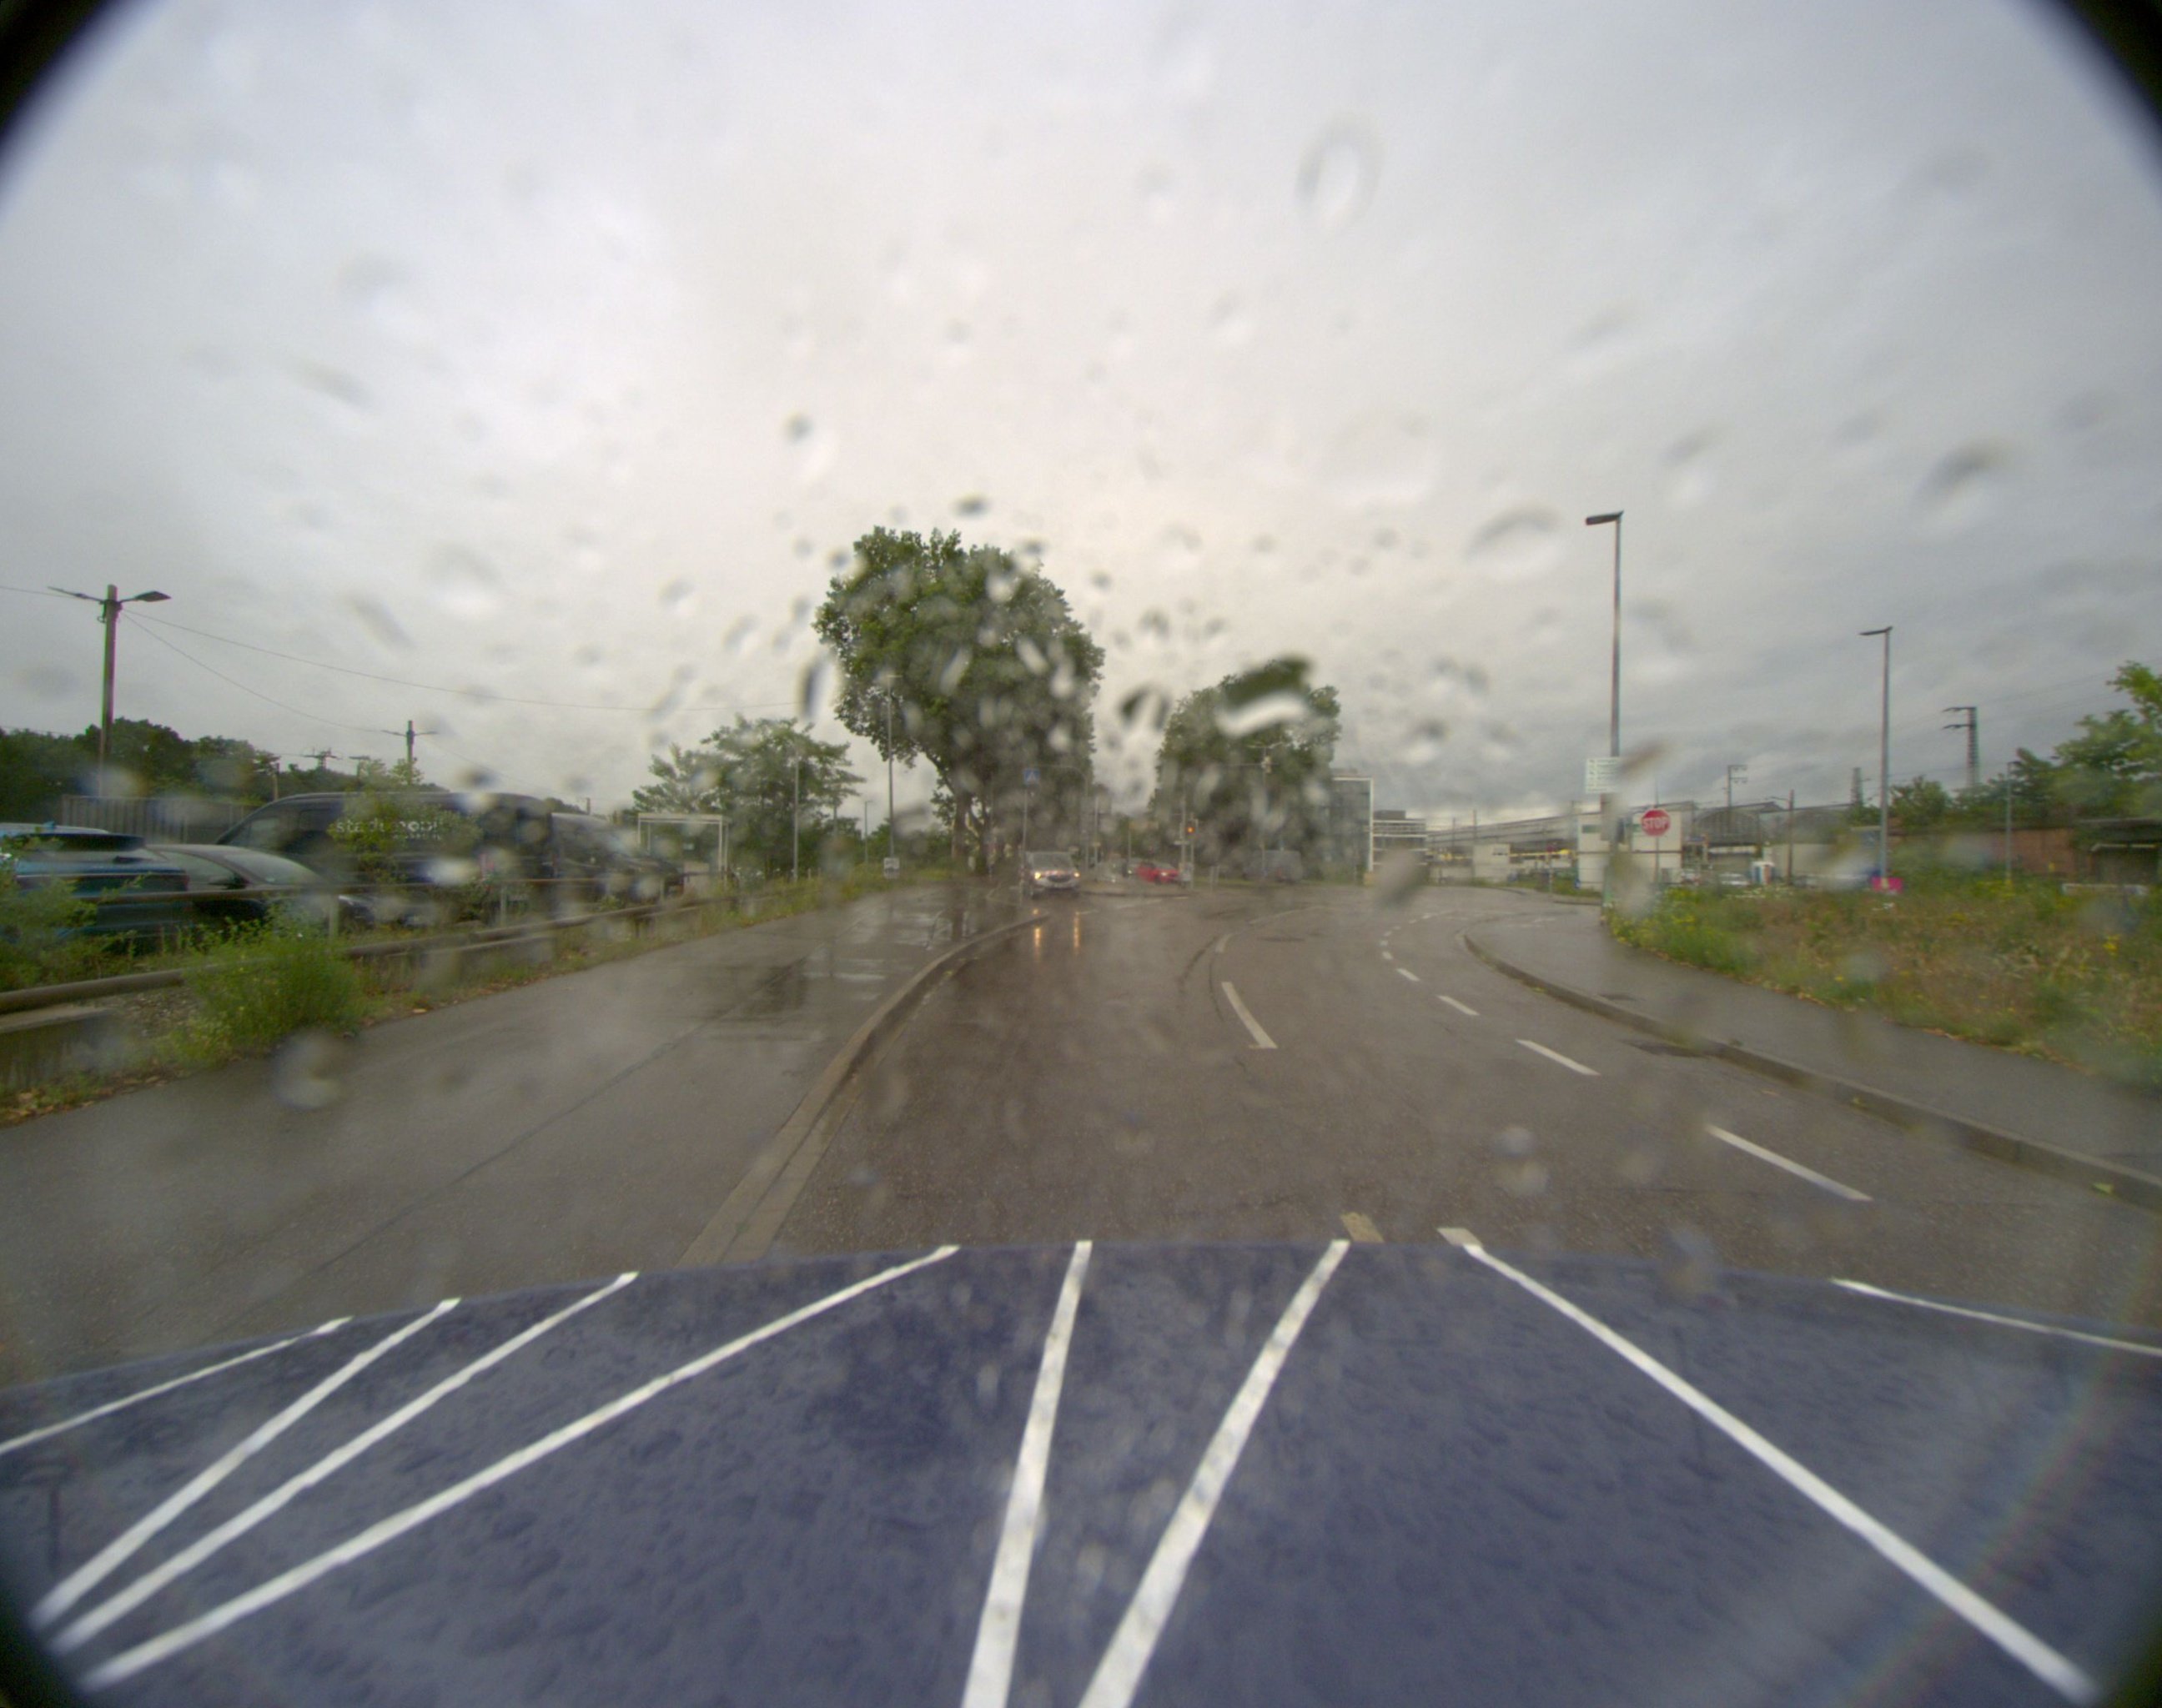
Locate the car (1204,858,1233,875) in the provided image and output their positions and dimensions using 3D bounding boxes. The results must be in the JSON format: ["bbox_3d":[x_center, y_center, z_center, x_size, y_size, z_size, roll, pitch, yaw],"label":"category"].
[{"bbox_3d":[12.714,1.175,70.493,1.649,1.443,3.530,2,-3,-6],"label":"car"}]

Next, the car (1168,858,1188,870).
[{"bbox_3d":[13.404,1.375,105.255,2.000,1.632,3.998,1,0,-6],"label":"car"}]

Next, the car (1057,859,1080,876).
[{"bbox_3d":[-1.044,1.177,66.389,1.743,1.437,4.001,2,-1,2],"label":"car"}]

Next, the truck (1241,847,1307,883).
[{"bbox_3d":[14.670,0.787,58.347,2.092,2.604,6.970,1,0,-12],"label":"truck"}]

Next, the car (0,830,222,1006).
[{"bbox_3d":[-11.720,0.570,7.581,3.907,1.585,1.896,0,1,-5],"label":"car"}]

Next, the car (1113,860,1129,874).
[{"bbox_3d":[4.040,1.297,77.142,1.643,1.346,3.776,1,0,2],"label":"car"}]

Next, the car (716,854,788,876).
[{"bbox_3d":[-23.047,0.759,53.429,4.399,1.421,1.873,1,0,-15],"label":"car"}]

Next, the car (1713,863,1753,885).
[{"bbox_3d":[65.172,1.995,76.020,1.995,2.002,4.007,0,1,25],"label":"car"}]

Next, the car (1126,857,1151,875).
[{"bbox_3d":[4.770,1.017,62.993,1.743,1.373,4.000,2,-1,0],"label":"car"}]

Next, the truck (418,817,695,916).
[{"bbox_3d":[-12.808,0.283,18.858,5.344,2.309,2.074,0,0,-3],"label":"truck"}]

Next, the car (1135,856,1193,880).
[{"bbox_3d":[4.946,0.834,45.991,1.747,1.373,3.992,1,0,-23],"label":"car"}]

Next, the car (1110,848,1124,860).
[{"bbox_3d":[5.012,-0.029,105.041,1.853,1.593,4.501,1,0,2],"label":"car"}]

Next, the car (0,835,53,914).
[{"bbox_3d":[-23.140,0.342,14.713,3.962,1.528,1.806,2,1,-1],"label":"car"}]

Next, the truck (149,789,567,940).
[{"bbox_3d":[-12.304,0.162,13.301,5.048,2.388,2.109,0,0,-5],"label":"truck"}]

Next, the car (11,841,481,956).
[{"bbox_3d":[-11.195,0.536,10.511,4.172,1.412,1.862,0,1,-6],"label":"car"}]

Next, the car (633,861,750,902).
[{"bbox_3d":[-15.368,1.075,30.160,4.006,1.494,1.872,1,0,-26],"label":"car"}]

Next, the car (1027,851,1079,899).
[{"bbox_3d":[-1.049,0.744,29.065,1.838,1.714,4.171,1,0,-1],"label":"car"}]
